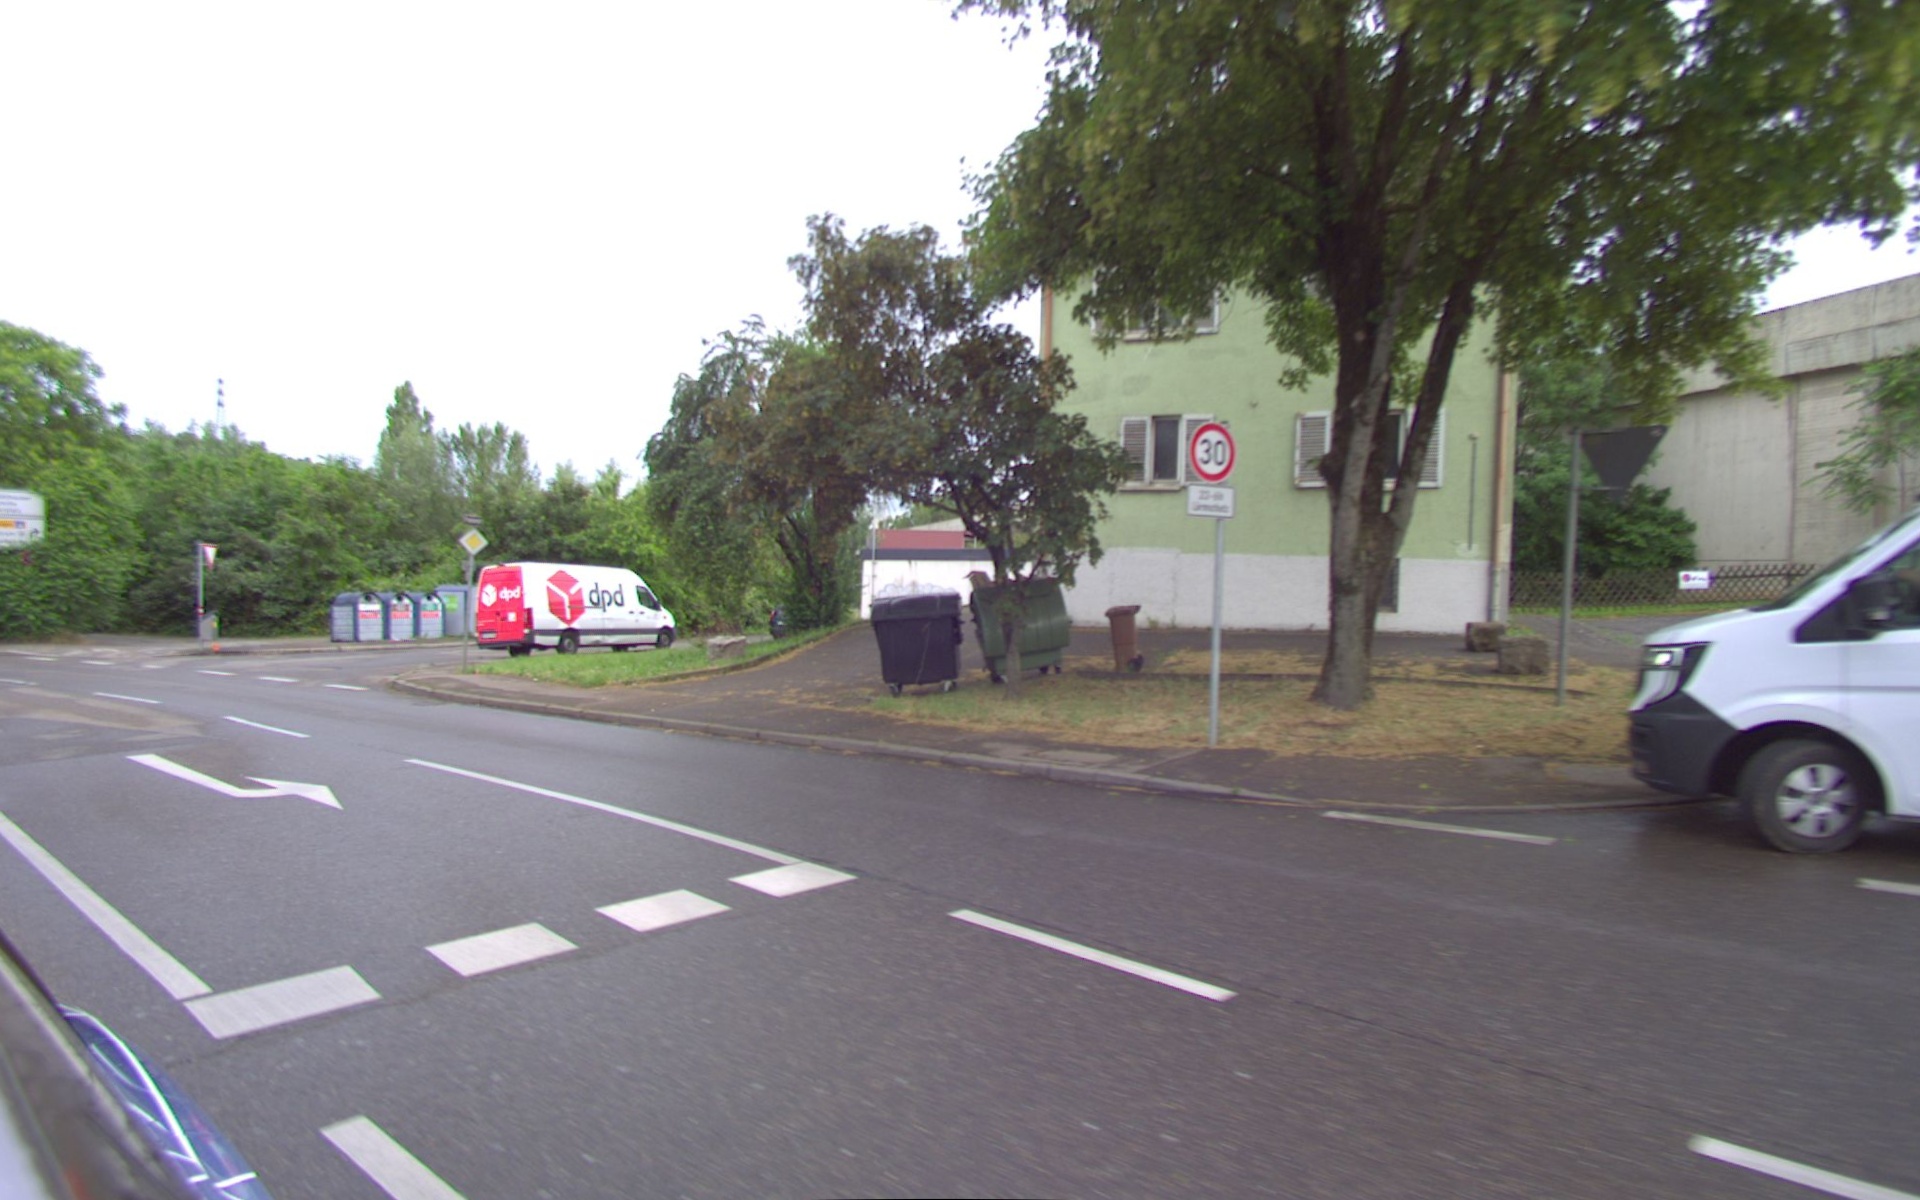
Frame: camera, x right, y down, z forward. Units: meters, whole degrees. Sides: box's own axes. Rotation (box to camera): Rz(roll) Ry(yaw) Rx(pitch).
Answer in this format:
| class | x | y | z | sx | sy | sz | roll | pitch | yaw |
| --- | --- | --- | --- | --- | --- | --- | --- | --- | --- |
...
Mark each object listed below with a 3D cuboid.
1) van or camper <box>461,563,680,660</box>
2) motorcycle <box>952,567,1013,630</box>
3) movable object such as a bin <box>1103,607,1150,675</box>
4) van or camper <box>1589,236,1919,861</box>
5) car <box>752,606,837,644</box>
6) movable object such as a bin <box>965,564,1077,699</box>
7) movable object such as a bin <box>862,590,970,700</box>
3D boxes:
| class | x | y | z | sx | sy | sz | roll | pitch | yaw |
| --- | --- | --- | --- | --- | --- | --- | --- | --- | --- |
| van or camper | -11.244 | 0.309 | 29.973 | 2.207 | 2.541 | 6.651 | -1 | 0 | 21 |
| motorcycle | 0.475 | -0.052 | 20.974 | 0.431 | 1.205 | 1.463 | 3 | 6 | 40 |
| movable object such as a bin | 2.378 | 0.573 | 14.498 | 0.555 | 0.917 | 0.541 | -4 | 0 | 3 |
| van or camper | 7.796 | -0.305 | 4.865 | 7.759 | 3.360 | 2.670 | -1 | 0 | 42 |
| car | -7.230 | 1.079 | 44.702 | 1.985 | 1.541 | 4.041 | -1 | 0 | 20 |
| movable object such as a bin | 0.868 | 0.432 | 14.691 | 1.434 | 1.774 | 1.576 | -4 | 0 | 3 |
| movable object such as a bin | -0.606 | 0.624 | 14.739 | 1.359 | 1.452 | 1.471 | -4 | 0 | 3 |
